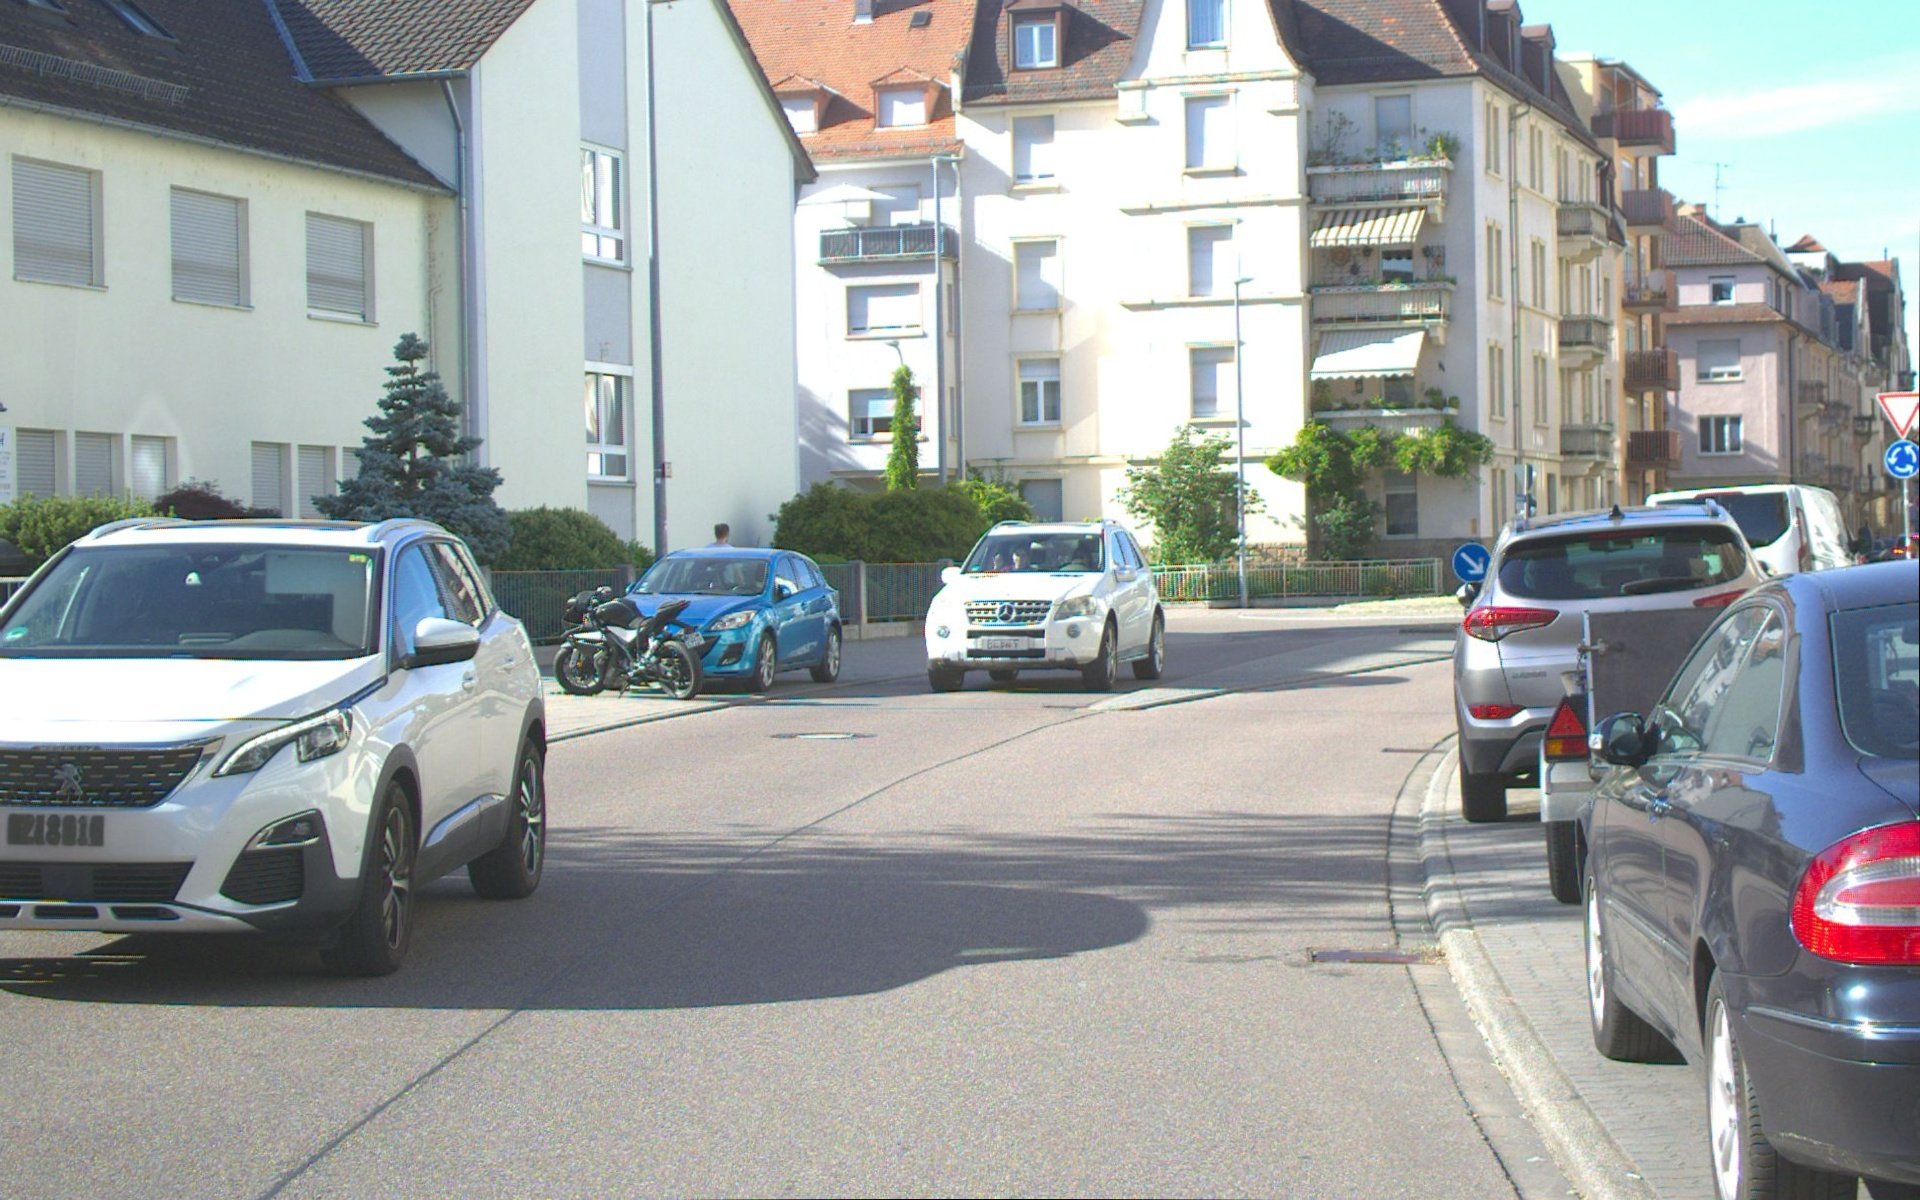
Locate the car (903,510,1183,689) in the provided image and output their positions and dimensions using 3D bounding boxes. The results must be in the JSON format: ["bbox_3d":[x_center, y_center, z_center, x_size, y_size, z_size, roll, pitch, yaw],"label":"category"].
[{"bbox_3d":[0.971,-0.039,37.019,1.991,1.779,4.516,-1,1,15],"label":"car"}]

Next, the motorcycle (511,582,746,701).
[{"bbox_3d":[-3.228,0.392,33.425,2.060,1.015,0.946,3,3,25],"label":"motorcycle"}]

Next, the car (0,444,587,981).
[{"bbox_3d":[-2.809,0.426,13.274,1.919,1.719,4.335,-1,-2,5],"label":"car"}]

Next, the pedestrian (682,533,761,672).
[{"bbox_3d":[-2.967,0.039,42.755,0.683,1.698,0.823,-1,-2,20],"label":"pedestrian"}]

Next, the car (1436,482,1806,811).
[{"bbox_3d":[3.700,0.298,19.721,1.818,1.648,4.558,-1,-2,9],"label":"car"}]

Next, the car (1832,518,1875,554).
[{"bbox_3d":[43.018,-3.093,165.552,1.636,1.650,3.667,-1,1,20],"label":"car"}]

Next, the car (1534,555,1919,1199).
[{"bbox_3d":[2.535,0.629,8.323,1.971,1.445,5.002,-1,0,6],"label":"car"}]

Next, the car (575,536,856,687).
[{"bbox_3d":[-2.507,0.071,36.342,1.798,1.468,4.328,1,1,13],"label":"car"}]

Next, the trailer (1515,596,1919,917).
[{"bbox_3d":[3.185,0.593,14.339,1.603,1.174,2.941,-1,0,11],"label":"trailer"}]

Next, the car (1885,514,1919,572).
[{"bbox_3d":[31.110,-1.844,110.042,2.434,1.805,4.719,-1,1,20],"label":"car"}]

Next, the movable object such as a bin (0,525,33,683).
[{"bbox_3d":[-9.712,0.047,32.707,1.283,1.485,1.226,-1,-2,15],"label":"movable object such as a bin"}]

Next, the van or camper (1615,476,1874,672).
[{"bbox_3d":[8.691,-0.311,37.770,2.022,1.940,4.698,-3,0,21],"label":"van or camper"}]
